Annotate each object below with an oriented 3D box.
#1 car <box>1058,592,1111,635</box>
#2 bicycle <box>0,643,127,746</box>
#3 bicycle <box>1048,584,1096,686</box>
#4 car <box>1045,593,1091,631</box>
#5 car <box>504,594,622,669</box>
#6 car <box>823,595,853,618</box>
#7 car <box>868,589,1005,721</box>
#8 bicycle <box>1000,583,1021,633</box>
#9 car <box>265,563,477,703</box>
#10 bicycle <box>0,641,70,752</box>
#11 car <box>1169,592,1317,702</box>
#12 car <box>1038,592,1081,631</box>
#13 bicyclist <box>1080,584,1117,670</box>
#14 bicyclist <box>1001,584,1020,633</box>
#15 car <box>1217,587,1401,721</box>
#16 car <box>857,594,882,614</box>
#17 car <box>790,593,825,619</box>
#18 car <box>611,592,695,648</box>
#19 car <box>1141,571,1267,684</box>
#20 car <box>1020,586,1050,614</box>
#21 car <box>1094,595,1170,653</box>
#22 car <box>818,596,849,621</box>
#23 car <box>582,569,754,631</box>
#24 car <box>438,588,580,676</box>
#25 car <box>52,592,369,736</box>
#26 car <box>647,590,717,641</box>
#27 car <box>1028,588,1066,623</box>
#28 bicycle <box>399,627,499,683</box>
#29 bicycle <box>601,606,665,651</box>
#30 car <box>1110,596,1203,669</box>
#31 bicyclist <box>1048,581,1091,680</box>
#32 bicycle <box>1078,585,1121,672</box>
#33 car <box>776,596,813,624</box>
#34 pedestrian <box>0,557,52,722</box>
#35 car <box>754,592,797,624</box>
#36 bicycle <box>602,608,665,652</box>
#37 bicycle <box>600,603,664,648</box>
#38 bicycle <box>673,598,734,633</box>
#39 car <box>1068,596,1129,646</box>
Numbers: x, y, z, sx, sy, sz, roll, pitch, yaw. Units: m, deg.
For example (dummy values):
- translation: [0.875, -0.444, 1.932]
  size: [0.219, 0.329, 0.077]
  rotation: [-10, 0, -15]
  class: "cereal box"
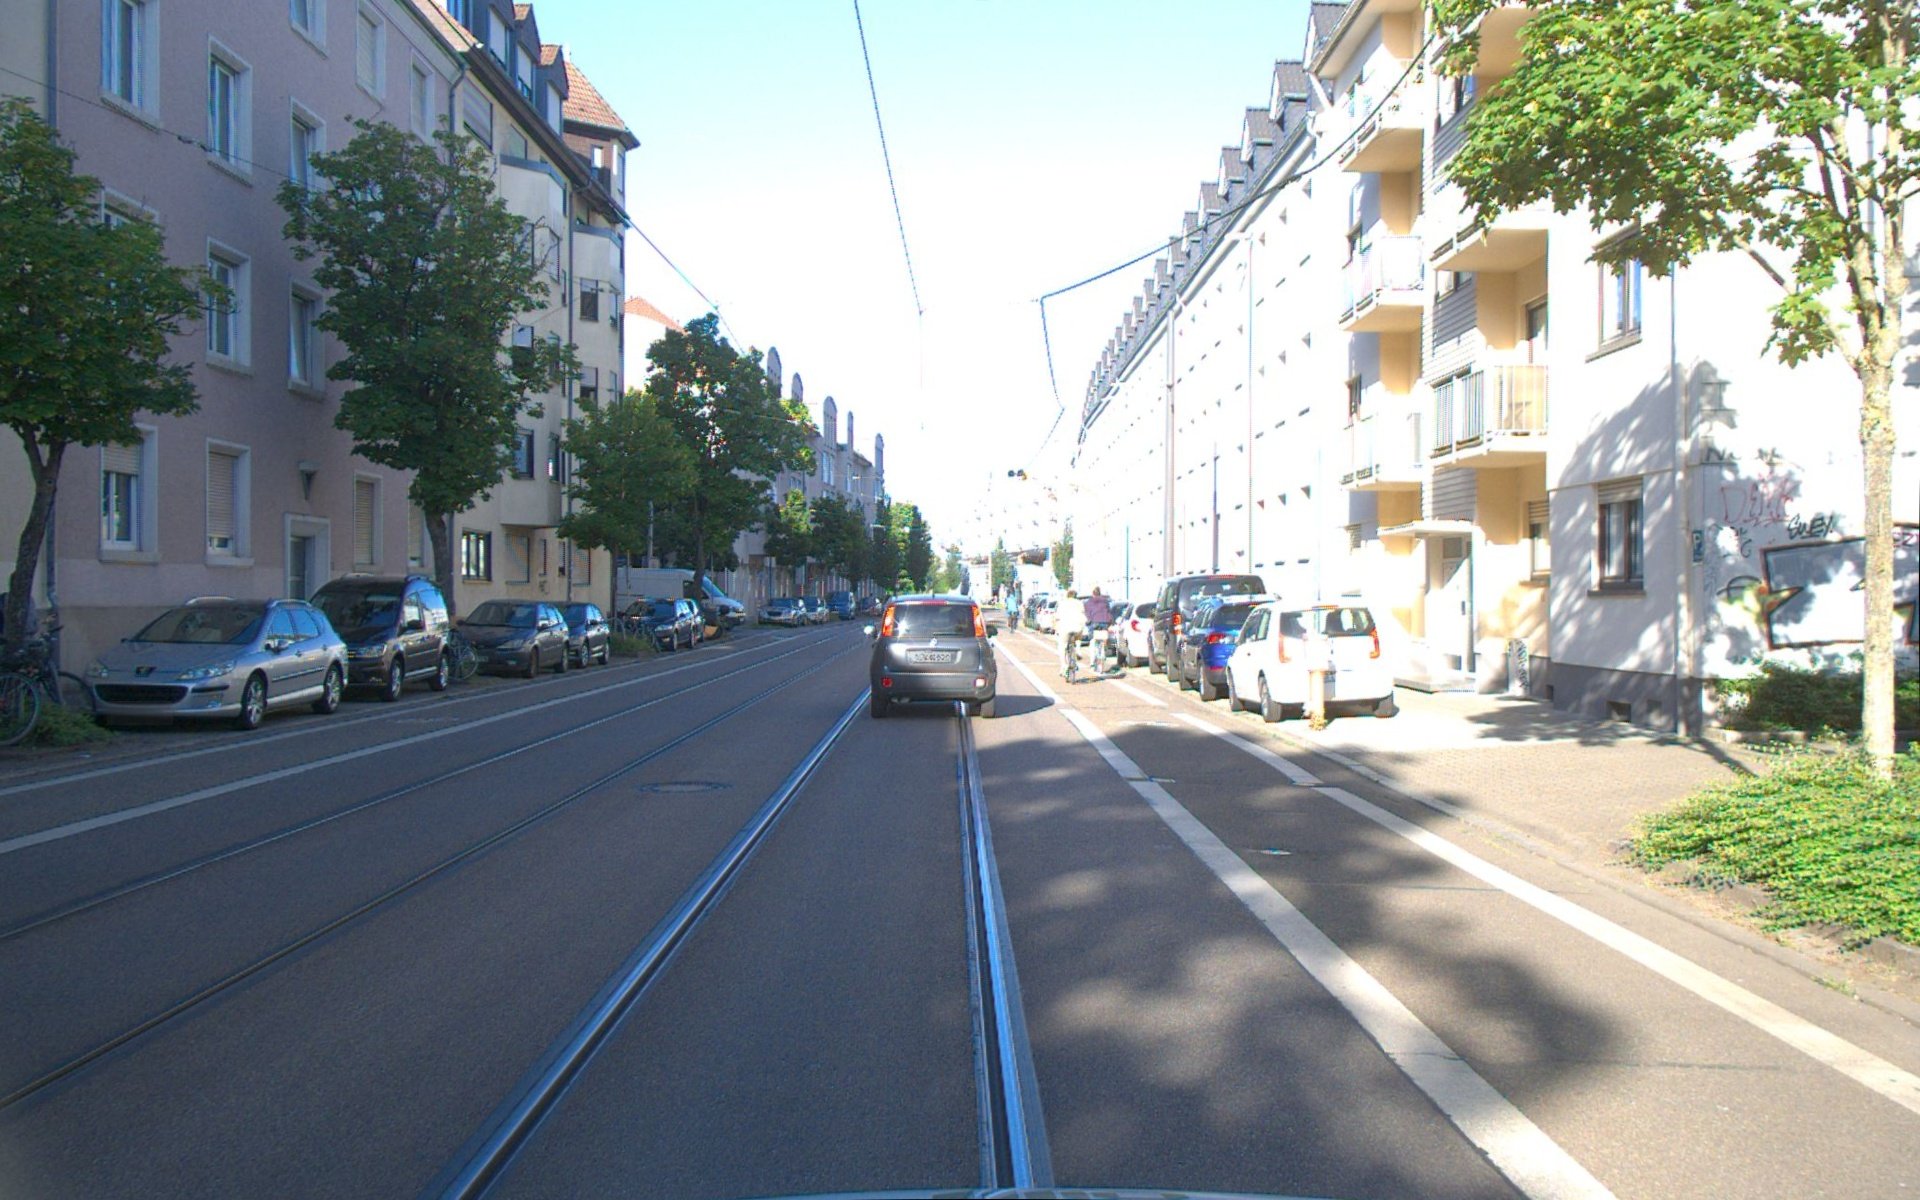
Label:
- translation: [4.344, 0.445, 58.096]
  size: [1.551, 1.430, 3.376]
  rotation: [1, 0, -1]
  class: "car"
- translation: [-9.472, 0.957, 16.888]
  size: [1.637, 1.019, 0.475]
  rotation: [1, 0, -12]
  class: "bicycle"
- translation: [2.026, 0.612, 30.240]
  size: [0.661, 1.777, 2.157]
  rotation: [1, 0, -1]
  class: "bicycle"
- translation: [4.317, 0.465, 66.487]
  size: [1.551, 1.430, 3.376]
  rotation: [1, 0, -1]
  class: "car"
- translation: [-9.215, 0.689, 38.659]
  size: [1.772, 1.648, 4.064]
  rotation: [1, 0, -1]
  class: "car"
- translation: [-8.243, 0.408, 111.983]
  size: [1.672, 1.523, 3.722]
  rotation: [1, 0, 0]
  class: "car"
- translation: [-0.230, 0.657, 22.168]
  size: [1.616, 1.568, 4.236]
  rotation: [1, 0, 2]
  class: "car"
- translation: [2.160, 0.329, 70.685]
  size: [0.726, 2.049, 2.811]
  rotation: [1, 0, -1]
  class: "bicycle"
- translation: [-9.113, 0.468, 25.963]
  size: [1.772, 1.977, 4.333]
  rotation: [1, 0, -1]
  class: "car"
- translation: [-9.431, 0.902, 15.762]
  size: [1.631, 1.019, 0.477]
  rotation: [1, 0, 2]
  class: "bicycle"
- translation: [4.413, 0.681, 26.310]
  size: [1.622, 1.599, 3.875]
  rotation: [1, 0, -1]
  class: "car"
- translation: [4.244, 0.478, 70.843]
  size: [1.551, 1.627, 3.376]
  rotation: [1, 0, -1]
  class: "car"
- translation: [2.936, 0.565, 35.060]
  size: [0.685, 1.790, 0.757]
  rotation: [1, 0, -1]
  class: "bicyclist"
- translation: [2.160, 0.362, 70.856]
  size: [0.700, 2.049, 0.831]
  rotation: [1, 0, -1]
  class: "bicyclist"
- translation: [4.509, 0.649, 21.801]
  size: [1.622, 1.599, 3.498]
  rotation: [1, 0, -1]
  class: "car"
- translation: [-6.945, 0.299, 127.773]
  size: [1.672, 1.523, 3.722]
  rotation: [1, 0, 0]
  class: "car"
- translation: [-9.010, 0.334, 97.979]
  size: [1.672, 1.523, 3.722]
  rotation: [1, 0, 0]
  class: "car"
- translation: [-9.099, 0.560, 49.282]
  size: [1.798, 1.583, 3.999]
  rotation: [1, 0, -1]
  class: "car"
- translation: [4.563, 0.474, 31.569]
  size: [1.622, 1.978, 4.663]
  rotation: [1, 0, -1]
  class: "car"
- translation: [4.464, 0.005, 98.714]
  size: [1.551, 1.627, 3.376]
  rotation: [1, 0, -1]
  class: "car"
- translation: [4.484, 0.603, 43.456]
  size: [1.551, 1.430, 3.376]
  rotation: [1, 0, -1]
  class: "car"
- translation: [-8.157, 0.530, 106.835]
  size: [1.672, 1.523, 3.722]
  rotation: [1, 0, 0]
  class: "car"
- translation: [-12.272, -0.007, 69.587]
  size: [6.754, 2.445, 2.178]
  rotation: [1, 0, 10]
  class: "car"
- translation: [-9.035, 0.606, 33.463]
  size: [1.772, 1.648, 4.064]
  rotation: [1, 0, -1]
  class: "car"
- translation: [-8.994, 0.691, 20.343]
  size: [1.772, 1.534, 4.680]
  rotation: [1, 0, 0]
  class: "car"
- translation: [-9.142, 0.486, 54.629]
  size: [1.798, 1.583, 3.376]
  rotation: [1, 0, -1]
  class: "car"
- translation: [4.125, 0.248, 78.533]
  size: [1.551, 1.627, 3.376]
  rotation: [1, 0, -1]
  class: "car"
- translation: [-9.138, 0.984, 29.611]
  size: [1.600, 0.954, 0.516]
  rotation: [1, 0, -5]
  class: "bicycle"
- translation: [-9.177, 0.803, 46.405]
  size: [1.694, 1.217, 0.372]
  rotation: [1, 0, -4]
  class: "bicycle"
- translation: [4.334, 0.695, 36.853]
  size: [1.622, 1.526, 3.129]
  rotation: [1, 0, -1]
  class: "car"
- translation: [2.004, 0.551, 30.316]
  size: [0.685, 1.790, 0.757]
  rotation: [1, 0, -1]
  class: "bicyclist"
- translation: [2.948, 0.574, 35.064]
  size: [0.661, 1.777, 2.157]
  rotation: [1, 0, -1]
  class: "bicycle"
- translation: [-9.304, 0.563, 93.145]
  size: [1.672, 1.523, 3.722]
  rotation: [1, 0, 0]
  class: "car"
- translation: [-10.825, 0.447, 18.949]
  size: [0.525, 1.858, 0.542]
  rotation: [1, 0, -1]
  class: "pedestrian"
- translation: [-9.305, 0.382, 83.663]
  size: [1.672, 1.523, 3.722]
  rotation: [1, 0, 0]
  class: "car"
- translation: [-9.224, 0.848, 46.819]
  size: [1.694, 1.217, 0.372]
  rotation: [1, 0, -4]
  class: "bicycle"
- translation: [-9.123, 0.695, 46.011]
  size: [1.694, 1.217, 0.372]
  rotation: [1, 0, -4]
  class: "bicycle"
- translation: [-9.816, 0.585, 63.370]
  size: [2.231, 1.310, 0.757]
  rotation: [1, 0, -6]
  class: "bicycle"
- translation: [4.395, 0.646, 52.860]
  size: [1.551, 1.429, 3.376]
  rotation: [-3, 0, -1]
  class: "car"
